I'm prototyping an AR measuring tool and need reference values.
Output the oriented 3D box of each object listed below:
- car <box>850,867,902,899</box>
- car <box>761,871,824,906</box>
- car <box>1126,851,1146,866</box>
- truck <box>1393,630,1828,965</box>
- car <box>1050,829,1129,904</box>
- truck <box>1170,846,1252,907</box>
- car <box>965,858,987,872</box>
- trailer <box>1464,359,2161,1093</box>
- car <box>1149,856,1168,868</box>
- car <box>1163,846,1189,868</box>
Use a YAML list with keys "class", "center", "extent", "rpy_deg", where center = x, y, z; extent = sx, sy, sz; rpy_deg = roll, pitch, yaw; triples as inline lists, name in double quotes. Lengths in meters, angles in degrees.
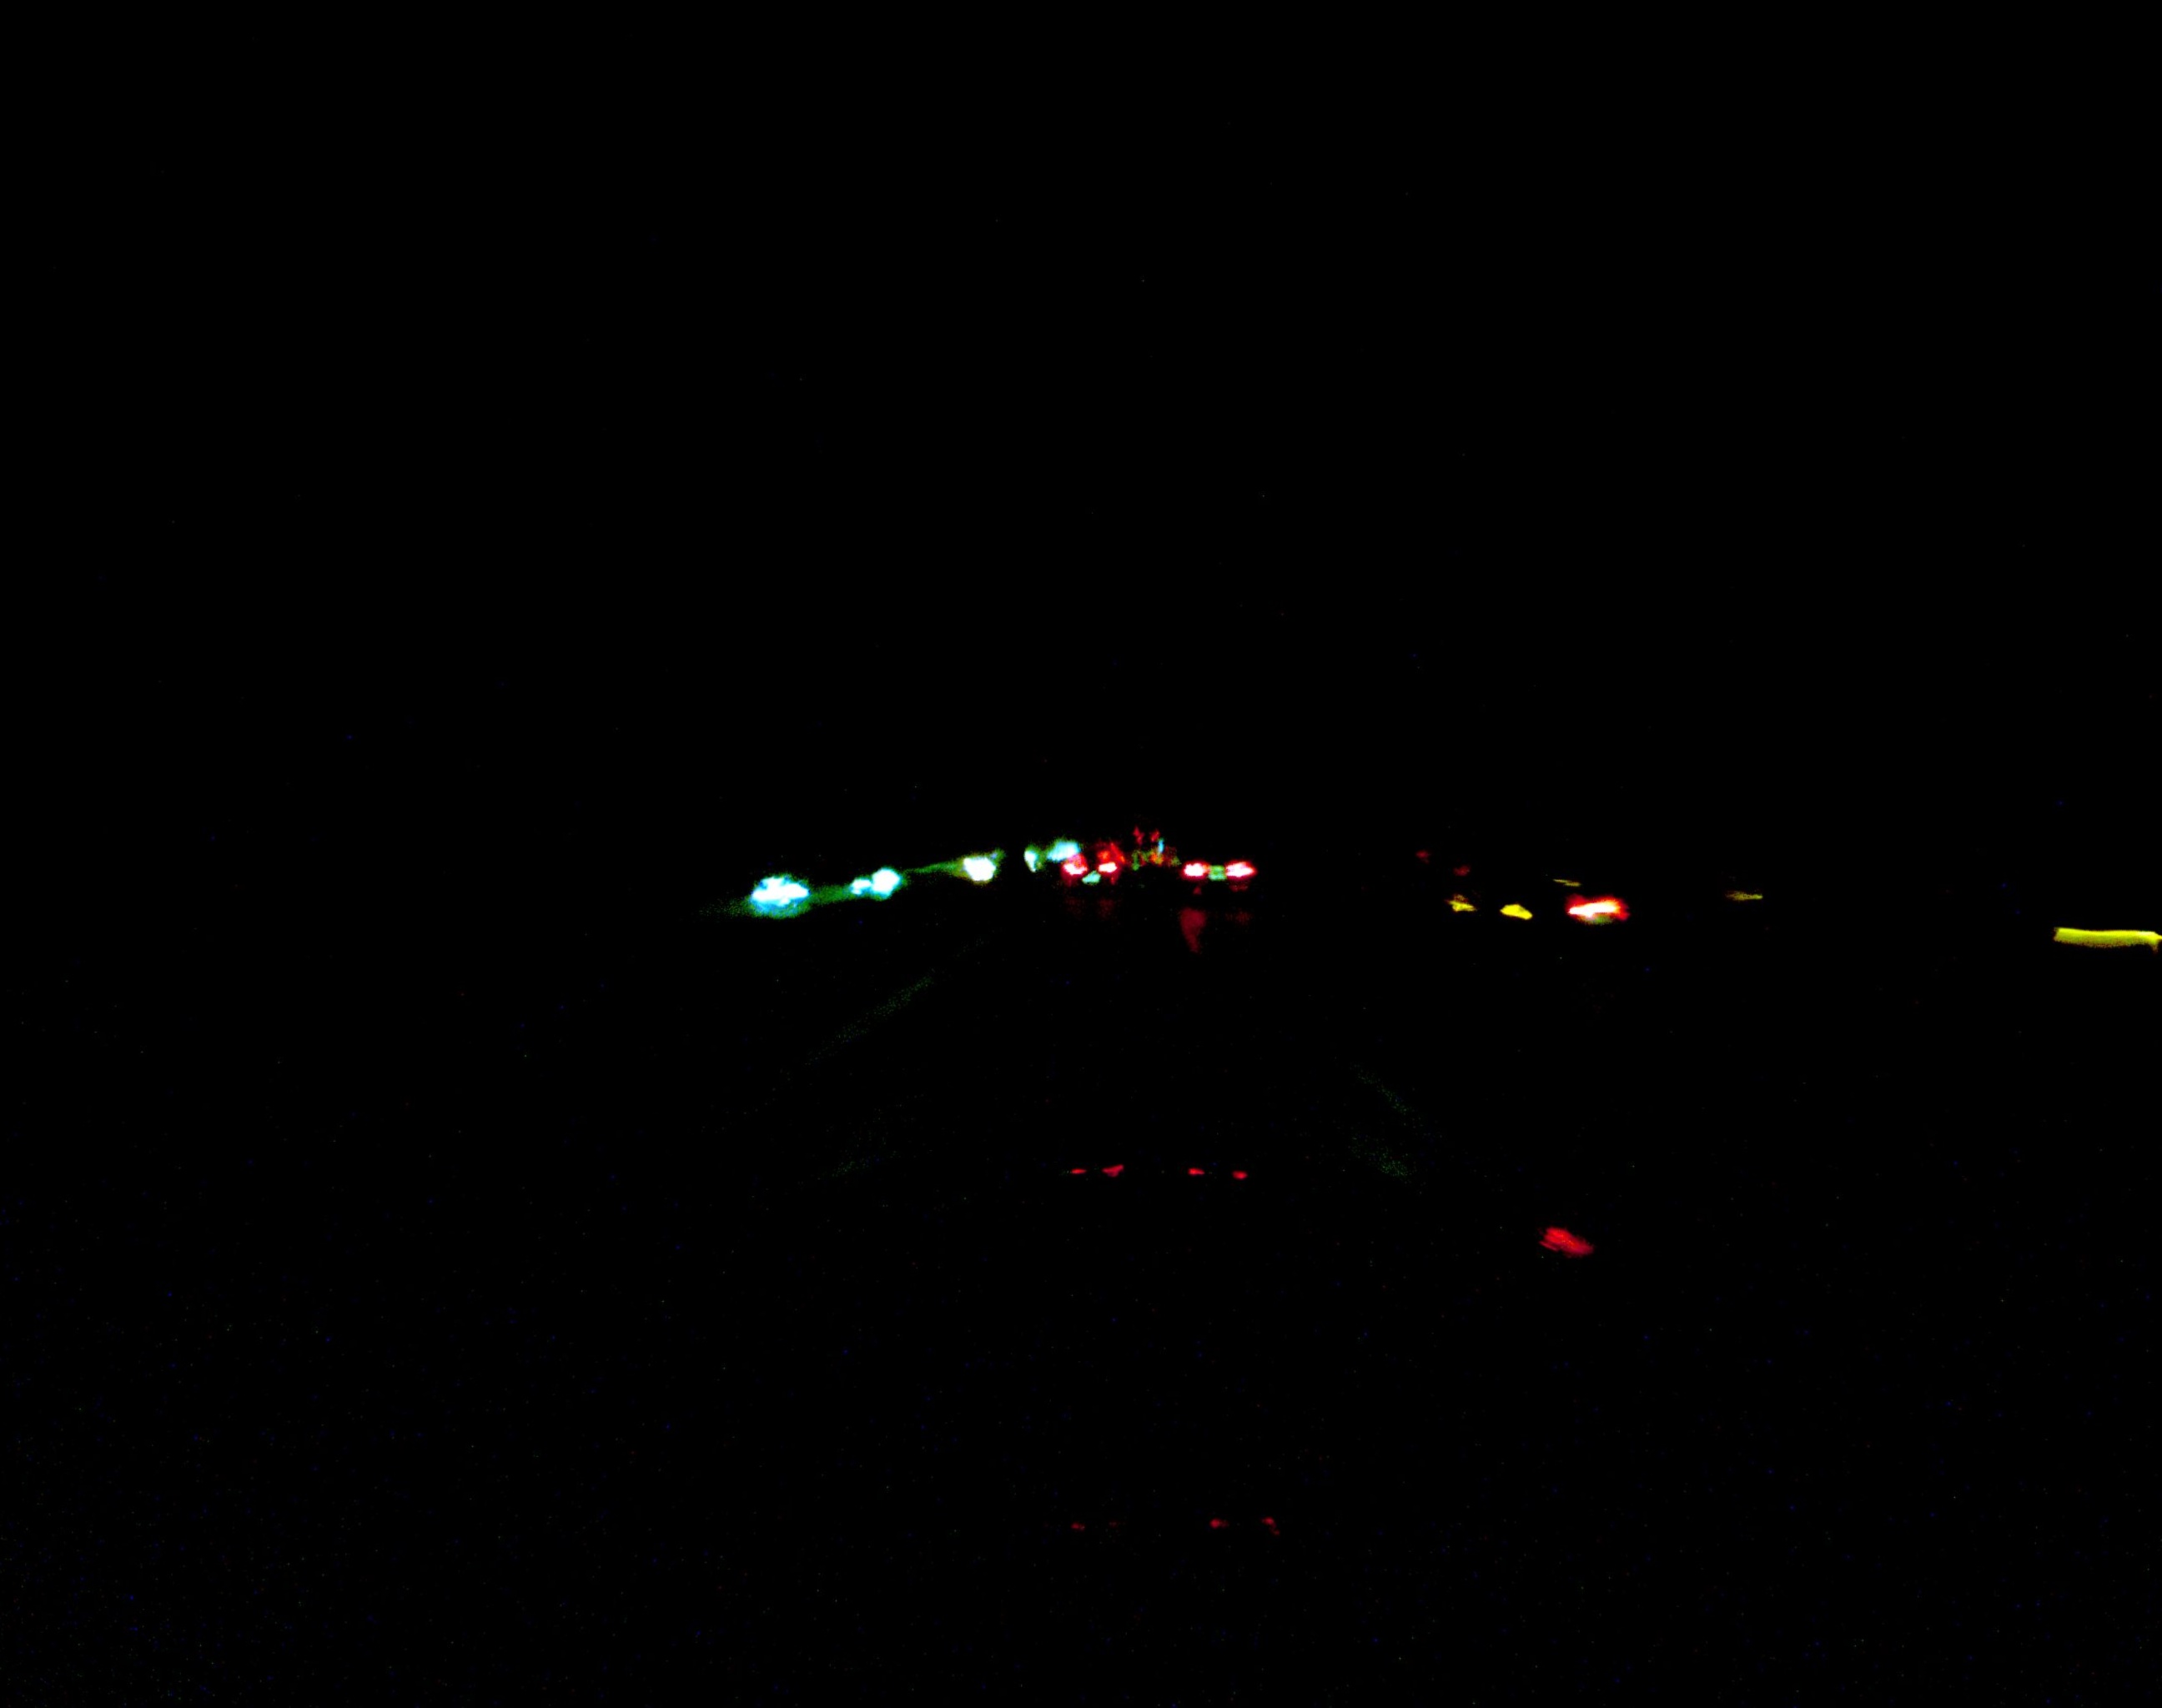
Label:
- class: "car"
  center: [-11.324, 1.582, 45.259]
  extent: [1.728, 1.508, 3.796]
  rpy_deg: [-3, 0, 1]
- class: "car"
  center: [-15.265, 1.787, 43.311]
  extent: [1.684, 1.508, 4.273]
  rpy_deg: [-3, 0, 1]
- class: "car"
  center: [5.310, 0.408, 79.199]
  extent: [1.607, 1.412, 3.790]
  rpy_deg: [-1, 0, -1]
- class: "truck"
  center: [7.831, -0.687, 13.498]
  extent: [2.848, 4.103, 7.017]
  rpy_deg: [0, 0, 2]
- class: "car"
  center: [0.253, 0.427, 31.929]
  extent: [2.702, 2.534, 5.828]
  rpy_deg: [-3, 0, -1]
- class: "truck"
  center: [3.906, 0.634, 25.274]
  extent: [1.837, 1.696, 4.855]
  rpy_deg: [0, 0, 1]
- class: "car"
  center: [-11.413, 1.188, 88.885]
  extent: [1.779, 1.526, 4.380]
  rpy_deg: [0, 0, 0]
- class: "trailer"
  center: [7.534, -0.708, 6.624]
  extent: [2.854, 4.097, 13.647]
  rpy_deg: [0, 0, 2]
- class: "car"
  center: [9.910, 1.018, 103.916]
  extent: [1.888, 1.486, 4.960]
  rpy_deg: [0, 0, -1]
- class: "car"
  center: [9.300, 0.225, 80.184]
  extent: [2.039, 1.974, 5.409]
  rpy_deg: [-3, 0, 1]
